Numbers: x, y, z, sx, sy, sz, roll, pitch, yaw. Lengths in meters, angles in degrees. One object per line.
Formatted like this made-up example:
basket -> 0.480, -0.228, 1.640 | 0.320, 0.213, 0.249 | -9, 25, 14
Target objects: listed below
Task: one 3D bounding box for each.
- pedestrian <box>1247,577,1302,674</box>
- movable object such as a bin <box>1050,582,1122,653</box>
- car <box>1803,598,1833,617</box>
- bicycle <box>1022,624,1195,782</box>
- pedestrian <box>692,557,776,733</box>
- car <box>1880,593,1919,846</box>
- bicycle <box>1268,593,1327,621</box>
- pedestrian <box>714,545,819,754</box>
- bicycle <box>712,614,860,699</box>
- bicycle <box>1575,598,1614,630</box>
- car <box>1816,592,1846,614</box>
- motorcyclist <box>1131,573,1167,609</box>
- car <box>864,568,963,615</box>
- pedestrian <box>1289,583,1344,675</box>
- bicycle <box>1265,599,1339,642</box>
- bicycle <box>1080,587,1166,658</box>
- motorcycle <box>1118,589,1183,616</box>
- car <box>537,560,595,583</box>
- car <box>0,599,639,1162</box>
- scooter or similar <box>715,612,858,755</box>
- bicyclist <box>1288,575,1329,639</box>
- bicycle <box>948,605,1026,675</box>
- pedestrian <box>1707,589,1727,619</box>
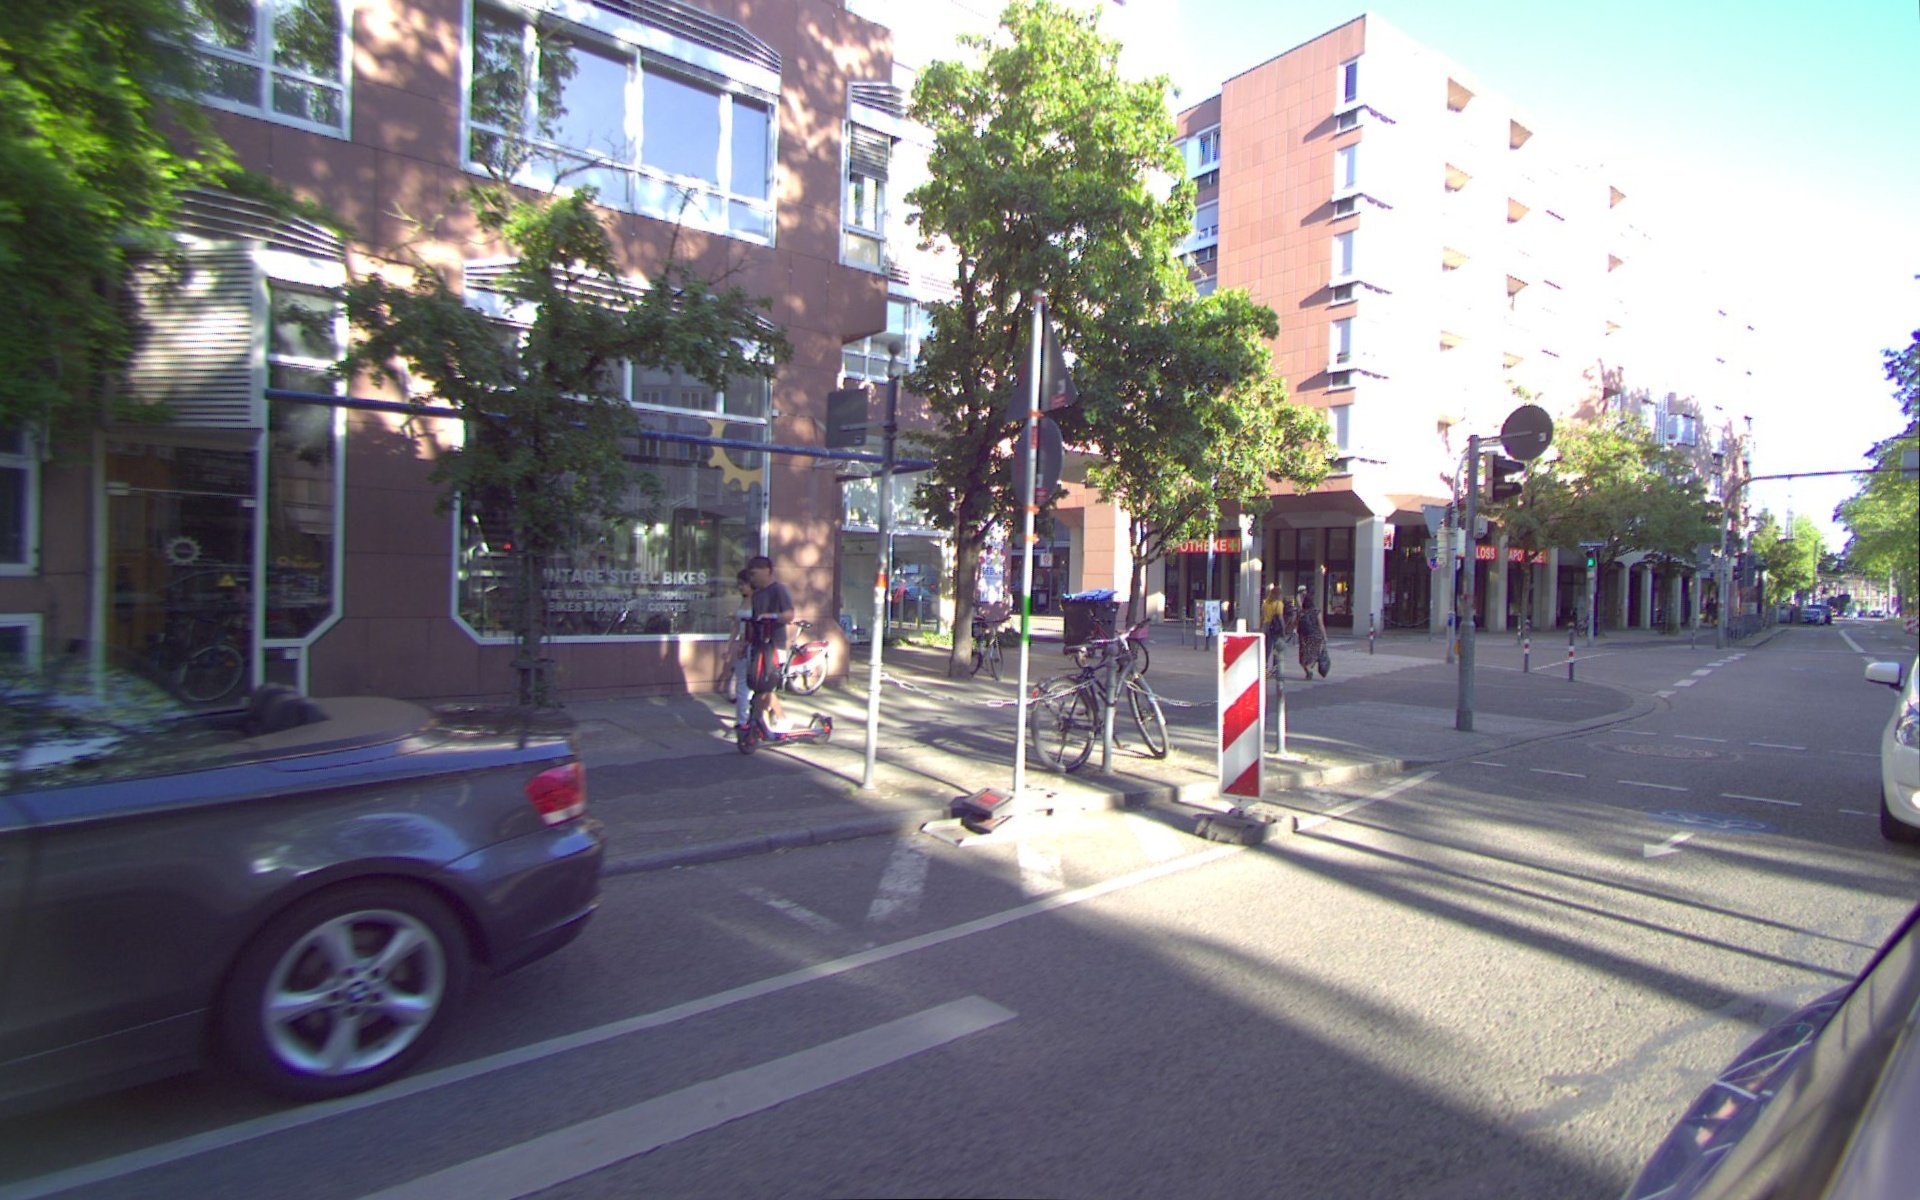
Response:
pedestrian -> 5.882, 0.453, 18.908 | 0.700, 1.755, 0.756 | 2, 1, 43
movable object such as a bin -> 2.798, 0.373, 22.548 | 0.855, 1.500, 1.414 | 0, 1, -36
car -> 75.066, 0.645, 88.525 | 1.703, 1.502, 4.180 | 4, 2, 44
bicycle -> 1.251, 0.764, 8.224 | 0.734, 1.066, 1.732 | 2, 1, 33
pedestrian -> -2.263, 0.429, 10.148 | 0.459, 1.693, 0.670 | 2, 1, 42
car -> 7.625, 0.699, 6.902 | 4.351, 1.470, 1.717 | 1, -1, -44
bicycle -> 14.461, 0.300, 43.431 | 0.582, 1.108, 2.448 | 0, 1, -39
pedestrian -> -1.749, 0.409, 9.114 | 0.599, 1.785, 0.787 | 0, 1, -41
bicycle -> -2.169, 0.674, 12.771 | 1.723, 0.951, 0.738 | 0, 1, -44
bicycle -> 25.175, 0.541, 40.156 | 1.890, 1.241, 0.624 | 0, 1, -36
car -> 84.262, 0.300, 97.935 | 2.036, 1.967, 5.122 | 4, 3, 40
motorcyclist -> 9.030, -0.429, 48.461 | 1.313, 1.710, 1.172 | -1, 1, -44
car -> -1.910, -0.377, 40.173 | 1.769, 1.743, 4.195 | 0, 2, -39
pedestrian -> 6.366, 0.497, 18.070 | 0.736, 1.598, 0.645 | 0, 1, -44
bicycle -> 9.895, 0.570, 29.333 | 0.789, 1.126, 1.919 | 0, 2, -39
bicycle -> 3.050, 0.401, 19.022 | 0.568, 1.242, 1.569 | 0, 1, -42
motorcycle -> 9.104, 0.096, 48.359 | 1.326, 1.193, 2.822 | 0, 1, -43
car -> -32.330, -2.327, 83.104 | 3.933, 1.855, 1.996 | 0, 2, -43
car -> -3.239, 0.683, 2.735 | 4.235, 1.318, 1.624 | 0, 2, -40
scooter or similar -> -1.527, 0.702, 9.029 | 1.228, 1.172, 0.395 | 0, 1, -43
bicyclist -> 10.039, 0.191, 29.157 | 0.774, 1.792, 0.827 | 0, 1, -40
bicycle -> 0.440, 0.656, 17.334 | 0.724, 1.066, 1.756 | 1, 1, -20
pedestrian -> 45.109, 0.227, 60.304 | 0.822, 1.760, 0.783 | 1, 1, -39
